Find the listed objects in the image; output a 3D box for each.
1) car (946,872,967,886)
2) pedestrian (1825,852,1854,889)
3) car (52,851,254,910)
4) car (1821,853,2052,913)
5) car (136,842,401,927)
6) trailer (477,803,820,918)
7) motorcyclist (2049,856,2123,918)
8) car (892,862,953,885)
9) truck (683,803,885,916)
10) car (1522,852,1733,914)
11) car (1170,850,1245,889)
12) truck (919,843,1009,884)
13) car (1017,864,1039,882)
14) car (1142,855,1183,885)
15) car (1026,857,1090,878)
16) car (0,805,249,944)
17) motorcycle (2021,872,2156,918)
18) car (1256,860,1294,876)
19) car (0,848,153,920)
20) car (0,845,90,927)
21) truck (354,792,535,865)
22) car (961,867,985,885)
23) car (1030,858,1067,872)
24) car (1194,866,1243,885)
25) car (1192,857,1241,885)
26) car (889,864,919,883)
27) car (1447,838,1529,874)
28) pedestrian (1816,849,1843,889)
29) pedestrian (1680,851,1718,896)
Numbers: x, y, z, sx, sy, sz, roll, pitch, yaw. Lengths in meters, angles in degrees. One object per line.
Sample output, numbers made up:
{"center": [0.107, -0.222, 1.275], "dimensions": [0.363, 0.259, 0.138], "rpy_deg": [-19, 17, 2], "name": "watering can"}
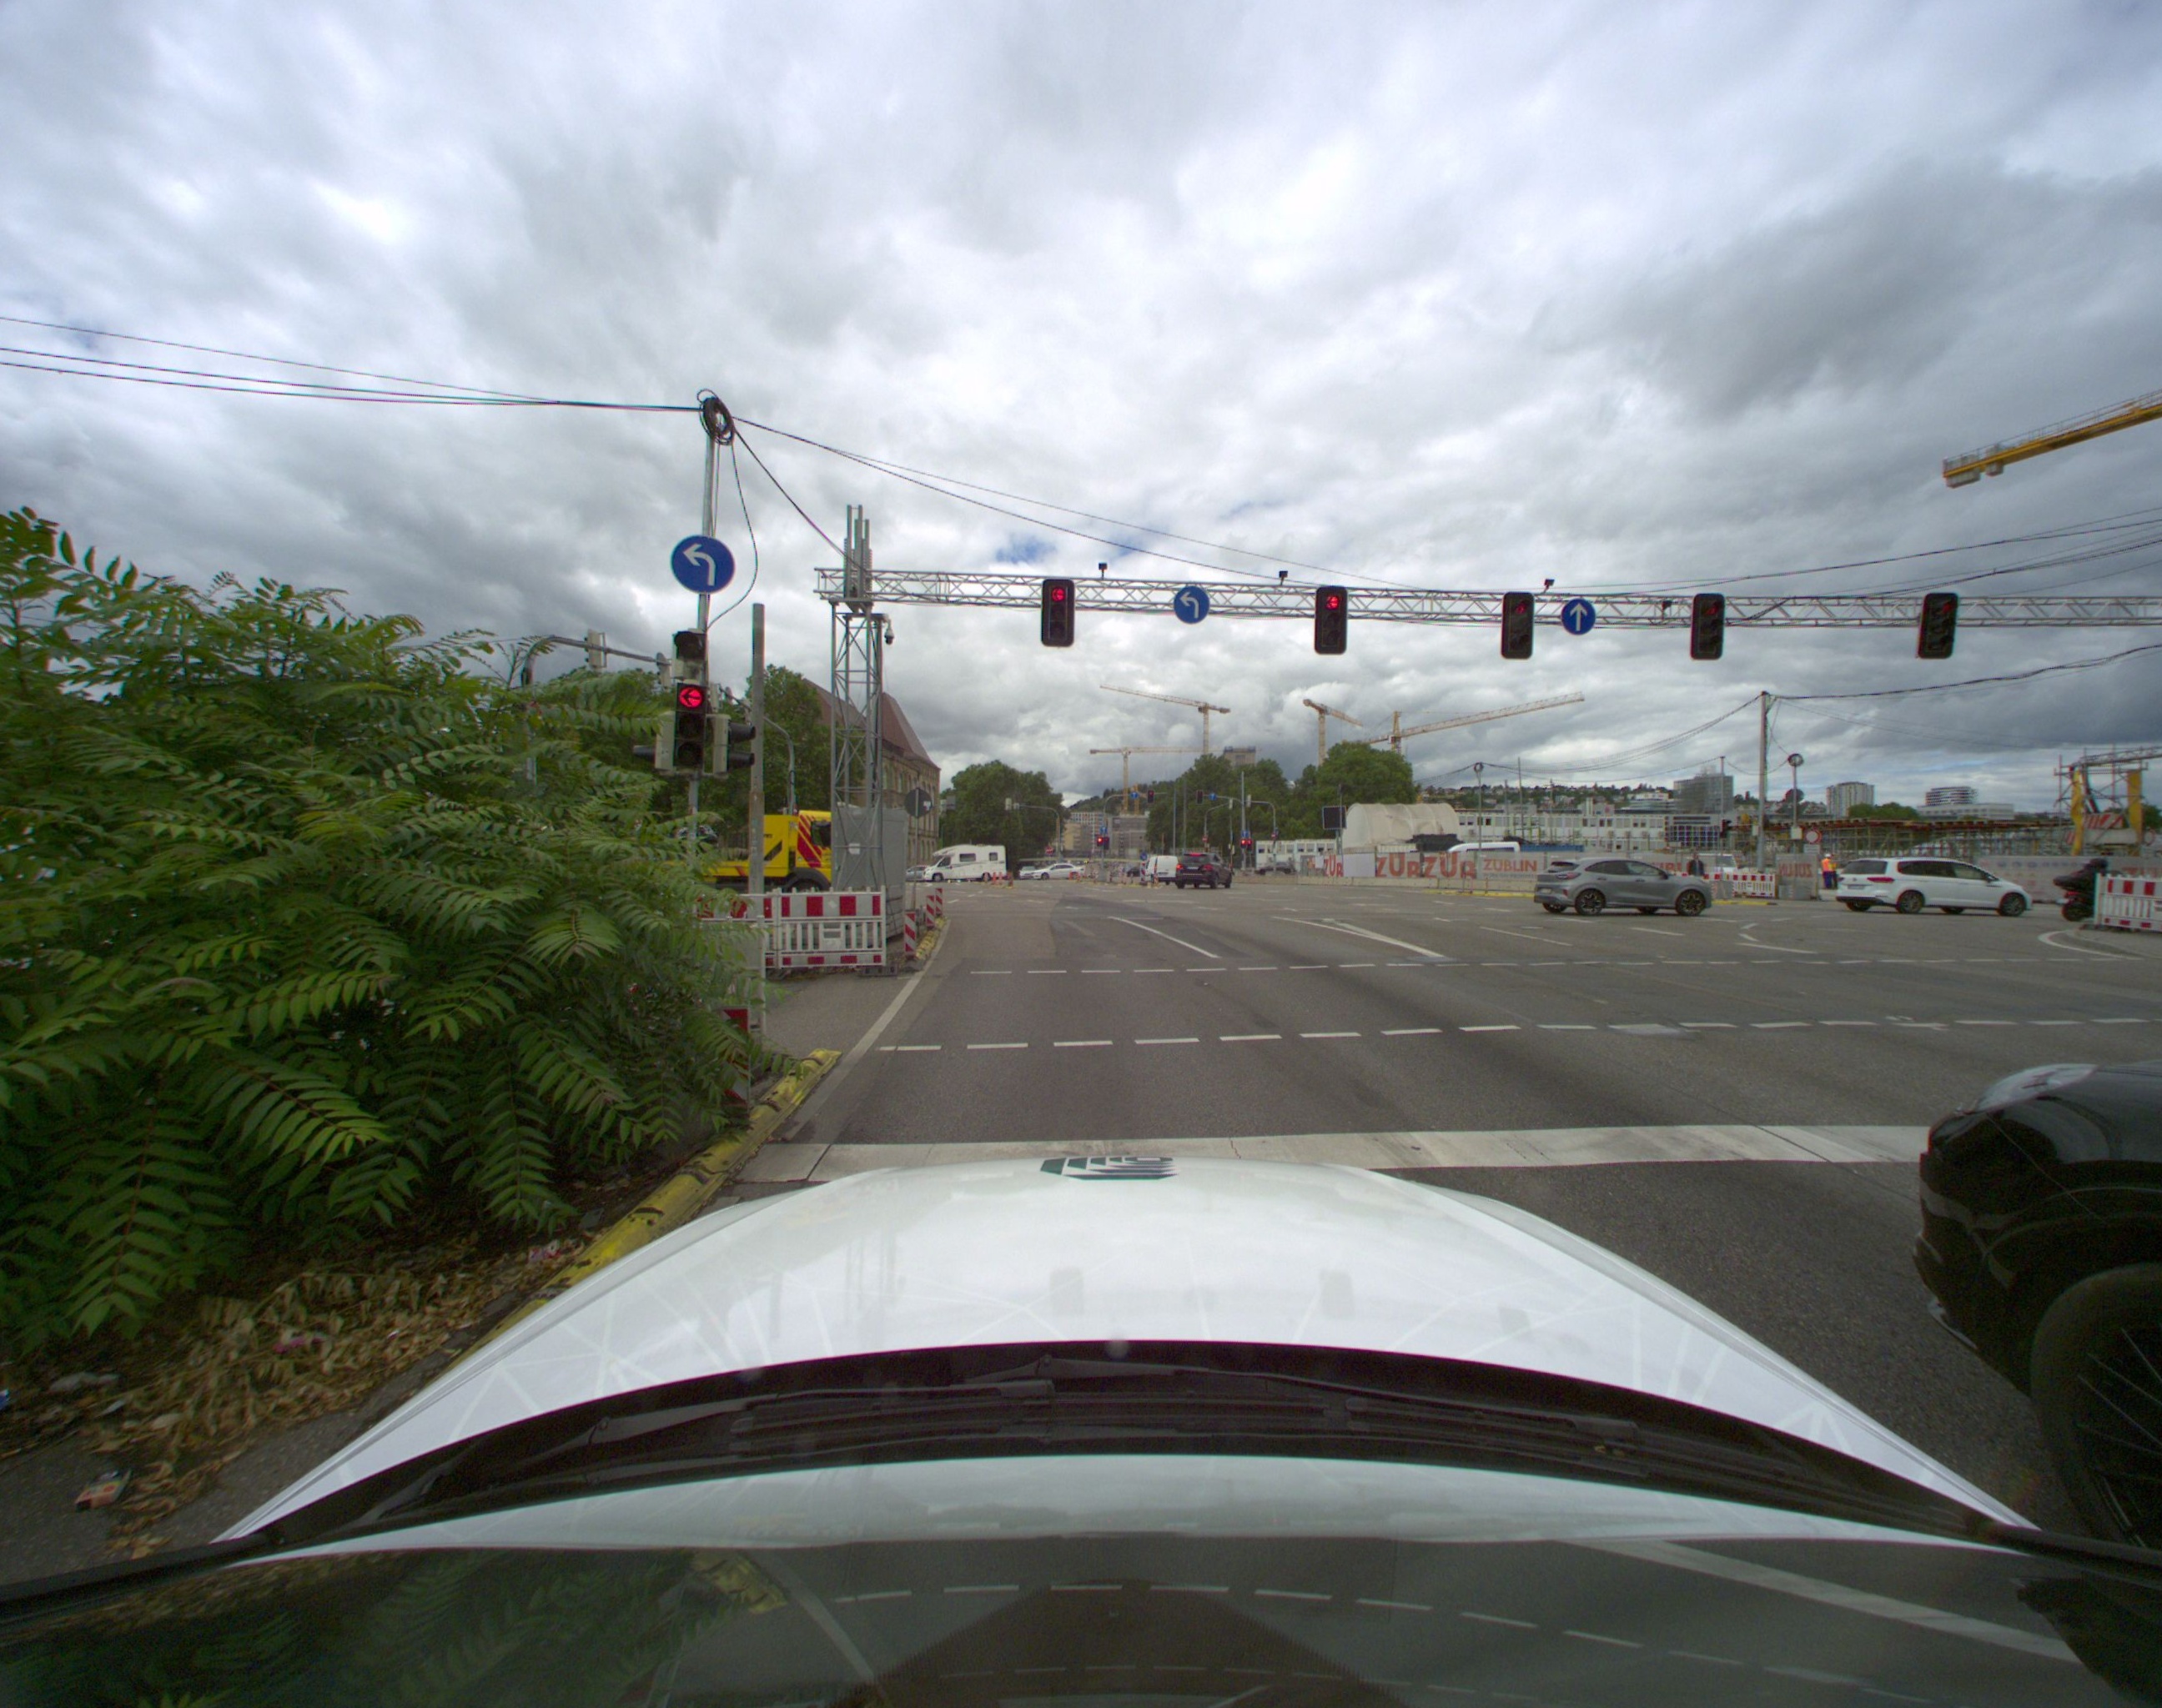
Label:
{"center": [-17.018, 3.464, 111.604], "dimensions": [1.985, 1.838, 4.003], "rpy_deg": [0, -1, 3], "name": "car"}
{"center": [39.174, 0.846, 42.059], "dimensions": [0.677, 1.916, 0.865], "rpy_deg": [0, -1, -4], "name": "pedestrian"}
{"center": [-28.770, 0.801, 25.363], "dimensions": [3.975, 1.740, 1.909], "rpy_deg": [1, -1, -1], "name": "car"}
{"center": [25.283, 0.840, 24.216], "dimensions": [4.651, 1.702, 2.002], "rpy_deg": [0, -1, 3], "name": "car"}
{"center": [-17.622, 0.651, 17.802], "dimensions": [3.969, 1.740, 1.912], "rpy_deg": [0, -1, 3], "name": "car"}
{"center": [-10.932, 0.156, 21.199], "dimensions": [7.328, 2.725, 2.861], "rpy_deg": [0, -1, -2], "name": "trailer"}
{"center": [26.125, 0.855, 21.186], "dimensions": [0.875, 1.571, 0.818], "rpy_deg": [0, -1, 2], "name": "motorcyclist"}
{"center": [-12.825, 1.587, 65.885], "dimensions": [4.585, 1.775, 1.985], "rpy_deg": [0, -1, -23], "name": "car"}
{"center": [-7.577, 0.136, 21.277], "dimensions": [4.191, 2.725, 2.862], "rpy_deg": [0, -1, 0], "name": "truck"}
{"center": [14.388, 0.738, 21.623], "dimensions": [4.281, 1.540, 1.999], "rpy_deg": [0, -1, -1], "name": "car"}
{"center": [6.258, 0.726, 39.934], "dimensions": [1.974, 1.834, 4.284], "rpy_deg": [-1, -1, 34], "name": "car"}
{"center": [-9.190, 0.718, 64.036], "dimensions": [6.607, 3.146, 2.350], "rpy_deg": [0, -1, -22], "name": "truck"}
{"center": [-5.539, 1.974, 85.409], "dimensions": [1.987, 1.838, 3.998], "rpy_deg": [0, -1, -1], "name": "car"}
{"center": [5.187, 0.985, 52.339], "dimensions": [1.860, 1.833, 4.715], "rpy_deg": [0, -1, -4], "name": "car"}
{"center": [-1.986, 1.169, 70.932], "dimensions": [5.188, 1.785, 2.149], "rpy_deg": [0, -1, -21], "name": "car"}
{"center": [-14.187, 0.272, 11.450], "dimensions": [3.956, 1.706, 1.842], "rpy_deg": [-1, -1, 17], "name": "car"}
{"center": [26.163, 1.063, 21.181], "dimensions": [2.413, 1.155, 0.818], "rpy_deg": [0, -1, 2], "name": "motorcycle"}
{"center": [21.160, 1.544, 88.729], "dimensions": [3.959, 1.728, 2.007], "rpy_deg": [-1, -1, 13], "name": "car"}
{"center": [-26.524, 0.740, 20.630], "dimensions": [3.969, 1.740, 1.912], "rpy_deg": [0, -1, 3], "name": "car"}
{"center": [-23.326, 0.648, 16.640], "dimensions": [3.969, 1.608, 1.912], "rpy_deg": [0, -1, 3], "name": "car"}
{"center": [-44.833, -1.774, 57.710], "dimensions": [9.717, 4.961, 3.102], "rpy_deg": [0, -1, -11], "name": "truck"}
{"center": [-11.444, 2.294, 86.515], "dimensions": [1.987, 1.838, 3.998], "rpy_deg": [0, -1, -1], "name": "car"}
{"center": [-3.730, 1.278, 94.581], "dimensions": [3.964, 1.662, 2.005], "rpy_deg": [0, -1, 8], "name": "car"}
{"center": [12.616, 1.929, 74.600], "dimensions": [3.995, 1.684, 1.989], "rpy_deg": [0, -1, -16], "name": "car"}
{"center": [8.791, 1.072, 53.249], "dimensions": [1.991, 1.759, 4.494], "rpy_deg": [0, -1, -7], "name": "car"}
{"center": [-17.261, 1.862, 79.579], "dimensions": [1.987, 1.838, 3.998], "rpy_deg": [0, -1, -1], "name": "car"}
{"center": [23.469, 0.128, 47.103], "dimensions": [3.955, 2.014, 2.009], "rpy_deg": [-1, -1, 17], "name": "car"}
{"center": [38.288, 0.752, 41.657], "dimensions": [0.673, 2.014, 0.869], "rpy_deg": [-1, -1, 14], "name": "pedestrian"}
{"center": [25.754, 0.813, 33.927], "dimensions": [1.035, 1.848, 0.794], "rpy_deg": [-1, -1, 17], "name": "pedestrian"}
